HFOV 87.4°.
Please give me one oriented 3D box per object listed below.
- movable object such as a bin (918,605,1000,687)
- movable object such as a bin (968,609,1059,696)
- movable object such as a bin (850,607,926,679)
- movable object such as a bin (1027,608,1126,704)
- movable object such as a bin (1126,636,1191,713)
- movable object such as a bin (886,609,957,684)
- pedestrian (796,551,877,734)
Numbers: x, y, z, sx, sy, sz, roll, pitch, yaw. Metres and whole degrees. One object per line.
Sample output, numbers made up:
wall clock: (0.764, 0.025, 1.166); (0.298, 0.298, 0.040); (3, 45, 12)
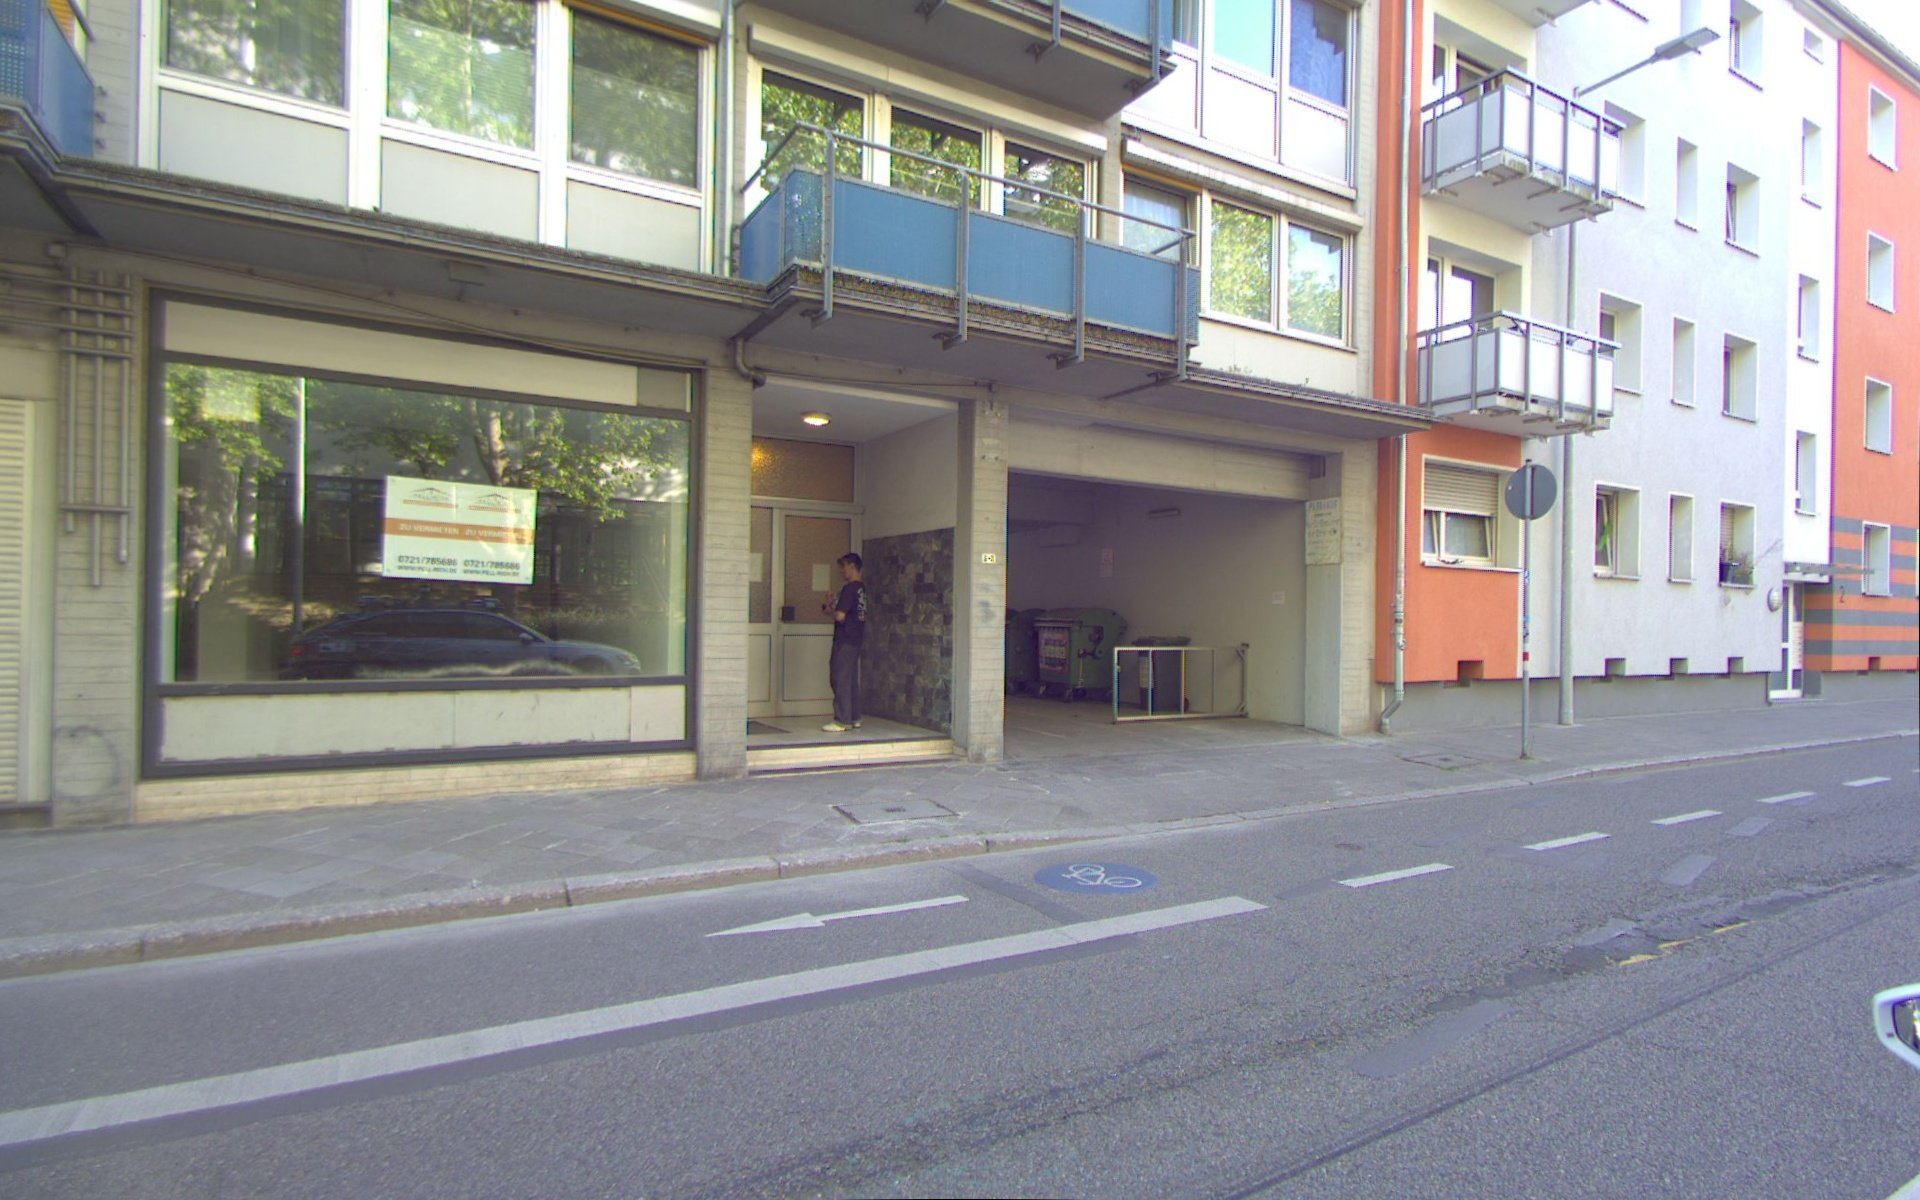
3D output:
movable object such as a bin: (-0.028, 0.832, 18.666); (1.011, 1.462, 1.318); (1, 0, -29)
movable object such as a bin: (0.896, 0.867, 17.157); (1.011, 1.409, 1.319); (1, 0, -27)
movable object such as a bin: (-1.489, 0.859, 20.660); (1.014, 1.409, 1.264); (1, 0, -37)
movable object such as a bin: (1.816, 0.851, 15.823); (1.009, 1.438, 1.321); (1, 0, -23)
movable object such as a bin: (2.868, 1.057, 14.495); (0.704, 1.054, 0.583); (1, 0, -30)
movable object such as a bin: (-0.759, 0.889, 19.667); (1.012, 1.409, 1.046); (1, 0, -31)
pedestrian: (-1.234, 0.412, 10.059); (0.518, 1.764, 0.630); (1, 0, 27)
